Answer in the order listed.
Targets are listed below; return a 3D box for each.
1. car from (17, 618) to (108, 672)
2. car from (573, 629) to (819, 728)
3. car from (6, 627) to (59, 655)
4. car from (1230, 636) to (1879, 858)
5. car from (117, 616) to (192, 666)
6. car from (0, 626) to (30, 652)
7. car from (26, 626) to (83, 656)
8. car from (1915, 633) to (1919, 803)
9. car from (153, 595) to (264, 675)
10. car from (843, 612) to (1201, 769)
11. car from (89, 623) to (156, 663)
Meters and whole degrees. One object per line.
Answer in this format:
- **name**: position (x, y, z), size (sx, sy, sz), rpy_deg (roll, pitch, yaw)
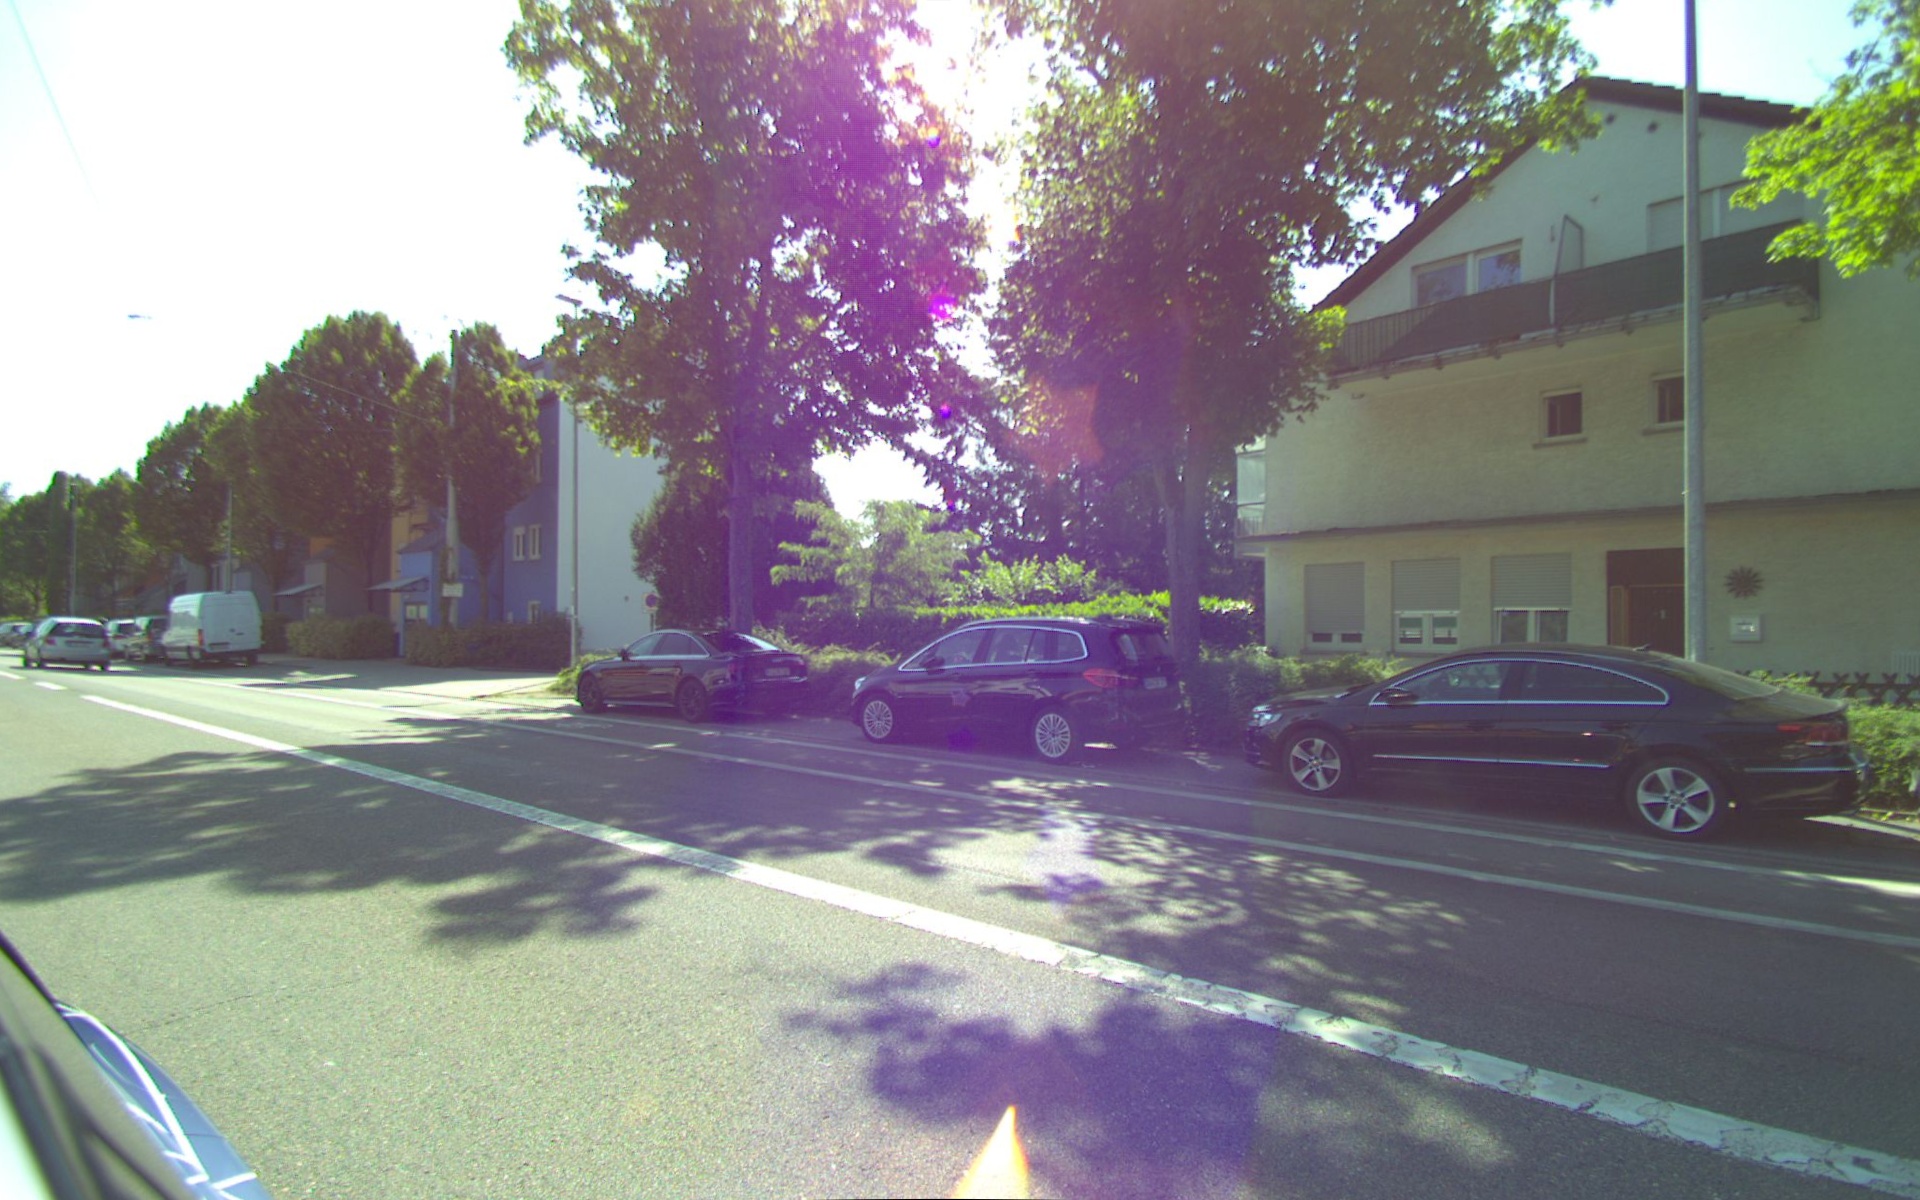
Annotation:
- **car**: position (-28.479, 1.401, 32.087), size (4.001, 1.608, 1.822), rpy_deg (-1, -3, 44)
- **car**: position (-4.479, 1.211, 16.824), size (4.453, 1.447, 1.658), rpy_deg (-1, -3, 39)
- **car**: position (-55.080, 2.395, 60.107), size (3.760, 1.513, 1.659), rpy_deg (-1, 1, 38)
- **car**: position (4.826, 1.031, 8.752), size (4.580, 1.406, 1.678), rpy_deg (-1, -3, 43)
- **car**: position (-34.043, 1.694, 42.712), size (4.455, 1.951, 1.657), rpy_deg (-1, 1, 41)
- **car**: position (-60.699, 2.468, 64.310), size (3.760, 1.513, 1.659), rpy_deg (-1, 1, 38)
- **car**: position (-50.795, 2.287, 56.754), size (3.760, 1.513, 1.659), rpy_deg (-1, 1, 38)
- **car**: position (8.160, 0.920, 5.620), size (4.082, 1.462, 1.598), rpy_deg (-2, -3, 43)
- **car**: position (-27.757, 1.239, 37.272), size (6.083, 2.671, 1.990), rpy_deg (-1, 1, 41)
- **car**: position (0.637, 0.997, 12.438), size (4.238, 1.625, 1.658), rpy_deg (-1, -3, 39)
- **car**: position (-38.368, 1.919, 46.329), size (4.146, 1.681, 1.657), rpy_deg (-1, 1, 41)
